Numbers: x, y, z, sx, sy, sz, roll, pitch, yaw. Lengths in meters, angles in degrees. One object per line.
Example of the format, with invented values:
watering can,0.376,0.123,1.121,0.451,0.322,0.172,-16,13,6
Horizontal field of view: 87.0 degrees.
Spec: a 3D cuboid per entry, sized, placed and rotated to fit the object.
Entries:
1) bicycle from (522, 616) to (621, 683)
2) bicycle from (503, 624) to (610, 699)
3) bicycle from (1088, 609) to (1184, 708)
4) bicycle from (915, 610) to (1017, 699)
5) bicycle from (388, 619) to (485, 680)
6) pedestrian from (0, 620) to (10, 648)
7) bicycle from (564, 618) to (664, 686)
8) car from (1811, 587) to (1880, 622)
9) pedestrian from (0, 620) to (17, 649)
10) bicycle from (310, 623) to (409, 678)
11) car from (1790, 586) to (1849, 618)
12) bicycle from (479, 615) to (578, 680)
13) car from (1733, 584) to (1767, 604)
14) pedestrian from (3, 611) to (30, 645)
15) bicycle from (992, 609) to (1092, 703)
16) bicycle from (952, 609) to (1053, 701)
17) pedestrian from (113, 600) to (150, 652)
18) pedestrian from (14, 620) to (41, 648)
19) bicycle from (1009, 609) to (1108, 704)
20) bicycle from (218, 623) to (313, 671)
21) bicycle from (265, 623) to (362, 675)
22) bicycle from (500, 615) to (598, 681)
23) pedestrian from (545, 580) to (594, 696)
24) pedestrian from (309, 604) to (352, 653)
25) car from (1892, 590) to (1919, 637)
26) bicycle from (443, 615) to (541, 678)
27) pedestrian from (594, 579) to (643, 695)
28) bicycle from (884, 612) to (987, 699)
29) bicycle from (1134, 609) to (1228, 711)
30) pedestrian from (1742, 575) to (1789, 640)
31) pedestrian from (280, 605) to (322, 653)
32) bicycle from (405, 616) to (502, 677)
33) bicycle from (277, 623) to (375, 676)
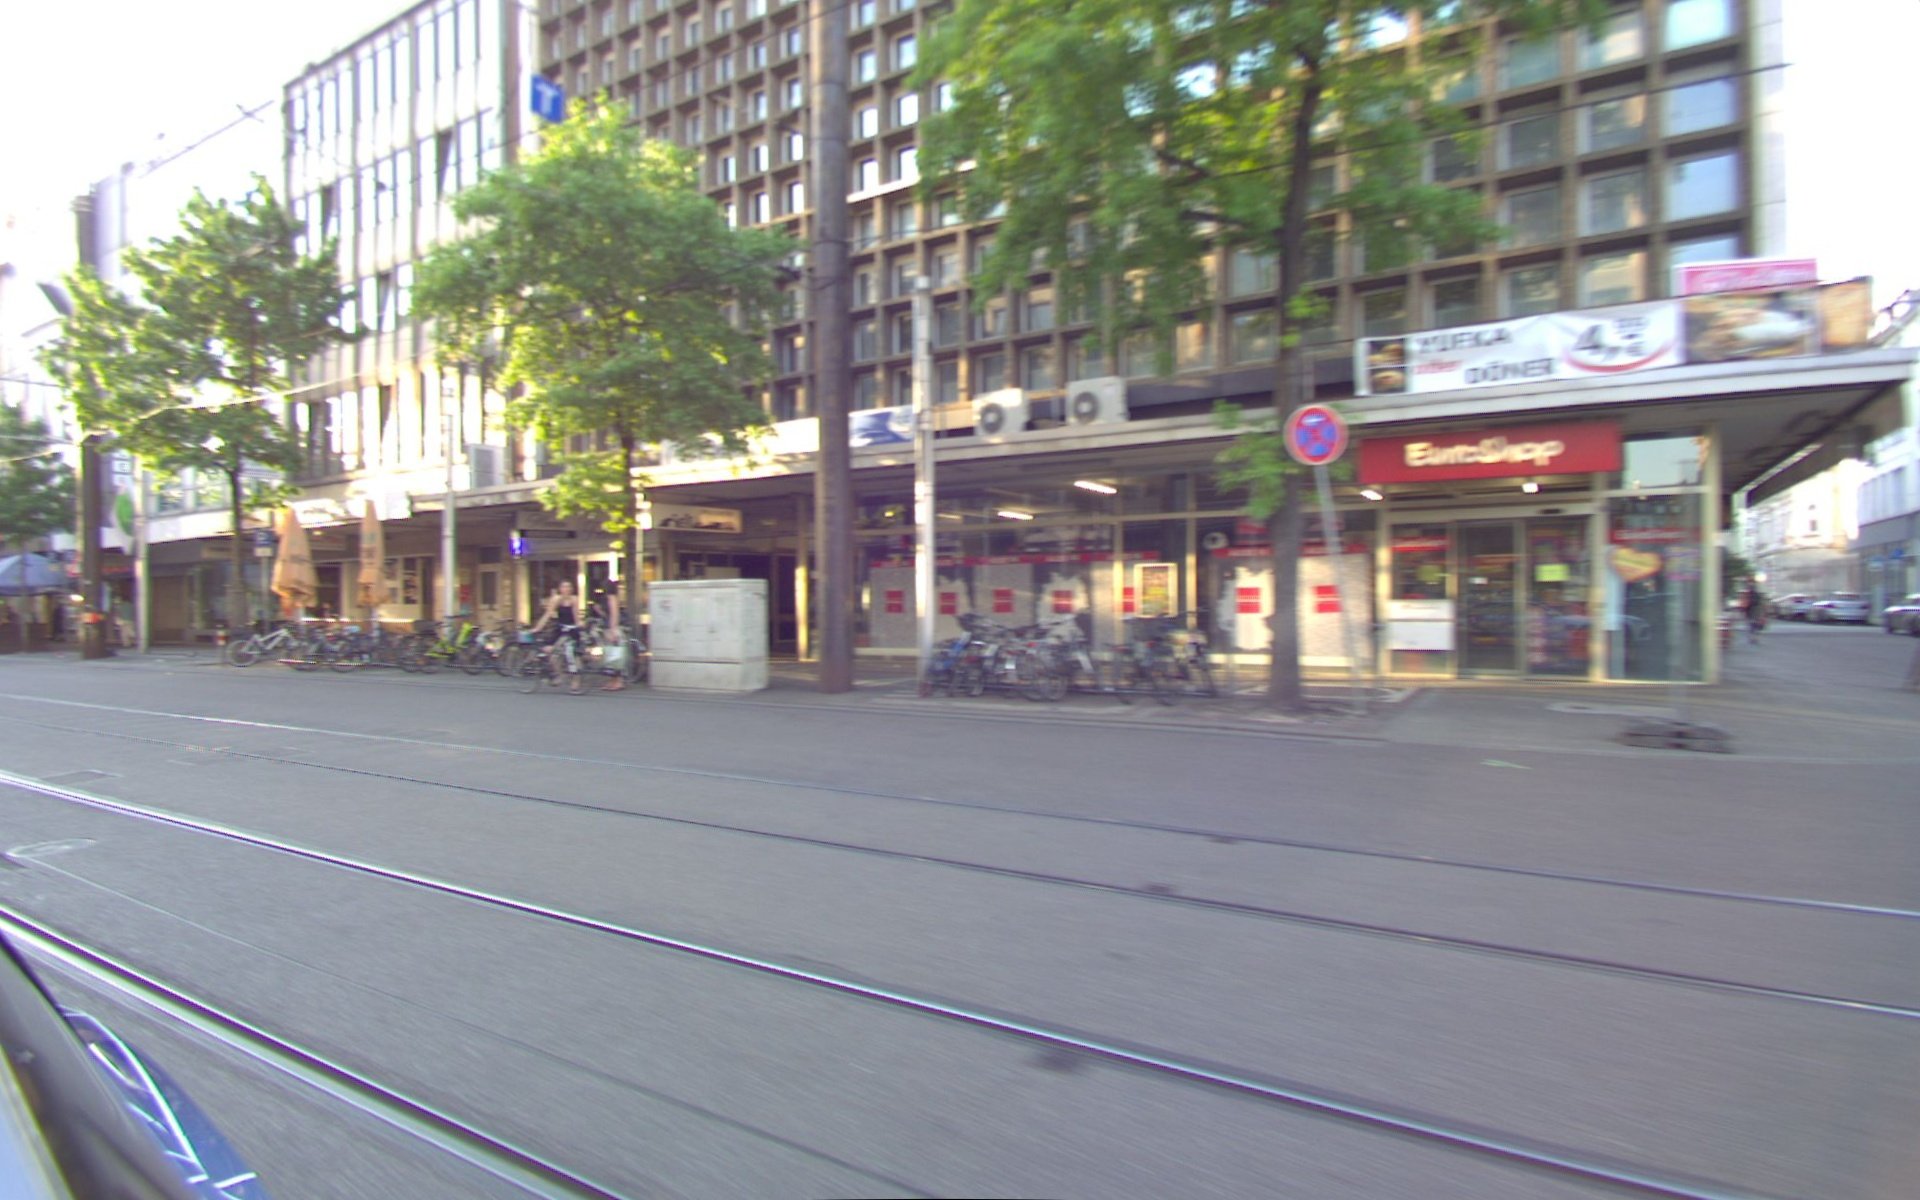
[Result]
bicycle,-6.988,0.868,18.276,0.487,1.079,1.762,-2,1,27
bicycle,-6.070,0.915,15.181,1.770,1.053,0.484,-2,0,30
bicycle,2.170,0.671,12.299,0.488,1.053,1.758,-2,1,32
bicycle,0.108,0.696,13.613,0.488,1.053,1.758,-2,1,32
bicycle,-10.574,0.982,20.503,0.487,1.079,1.762,-2,1,27
pedestrian,-41.271,1.472,43.356,0.663,1.165,0.636,0,2,30
bicycle,-5.665,0.842,16.528,1.770,1.053,0.484,-2,0,30
car,40.417,0.185,46.263,1.795,1.522,3.955,0,0,33
pedestrian,-40.389,1.462,42.745,0.663,1.165,0.636,0,2,30
bicycle,-12.448,1.033,21.030,0.487,0.997,1.762,-2,1,27
car,43.676,0.089,51.500,1.795,1.522,3.955,0,0,33
bicycle,-8.015,0.862,18.886,0.487,1.079,1.762,-2,1,27
car,62.443,-0.457,80.027,1.795,1.522,3.955,0,0,33
pedestrian,-41.934,1.229,44.988,0.641,1.444,0.656,0,4,32
bicycle,1.081,0.684,13.008,0.488,1.053,1.758,-2,1,32
bicycle,0.585,0.690,13.302,0.488,1.053,1.758,-2,1,32
pedestrian,-29.819,0.928,36.424,0.987,1.806,0.679,-1,2,33
pedestrian,-40.082,1.451,43.504,0.663,1.165,0.636,0,2,30
bicycle,1.282,0.682,12.874,0.488,1.053,1.758,-2,1,32
bicycle,-16.129,1.069,23.523,1.750,0.973,0.490,-3,2,-41
bicycle,-14.072,1.052,22.080,0.487,0.997,1.762,-2,1,27
bicycle,-7.530,0.855,18.637,0.487,1.079,1.762,-2,1,27
pedestrian,-5.918,0.566,15.338,0.593,1.712,0.537,-2,0,-28
pedestrian,-17.989,0.815,28.906,0.909,1.335,0.665,-1,2,31
car,32.642,0.418,33.630,1.795,1.522,3.955,0,0,33
bicycle,-9.018,0.885,19.575,0.487,1.079,1.762,-2,1,27
pedestrian,-5.211,0.553,15.433,0.593,1.712,0.537,-2,0,-28
bicycle,-0.300,0.727,13.883,0.488,1.053,1.758,-2,1,32
bicycle,2.637,0.666,11.953,0.488,1.053,1.758,-2,1,32
pedestrian,21.390,0.208,26.895,0.869,1.674,0.920,-2,-1,35
pedestrian,-19.110,0.837,29.355,0.909,1.335,0.665,-1,2,31
bicycle,-10.082,0.911,20.206,0.487,1.079,1.762,-2,1,27
bicycle,-13.626,1.047,21.801,0.487,0.997,1.762,-2,1,27
